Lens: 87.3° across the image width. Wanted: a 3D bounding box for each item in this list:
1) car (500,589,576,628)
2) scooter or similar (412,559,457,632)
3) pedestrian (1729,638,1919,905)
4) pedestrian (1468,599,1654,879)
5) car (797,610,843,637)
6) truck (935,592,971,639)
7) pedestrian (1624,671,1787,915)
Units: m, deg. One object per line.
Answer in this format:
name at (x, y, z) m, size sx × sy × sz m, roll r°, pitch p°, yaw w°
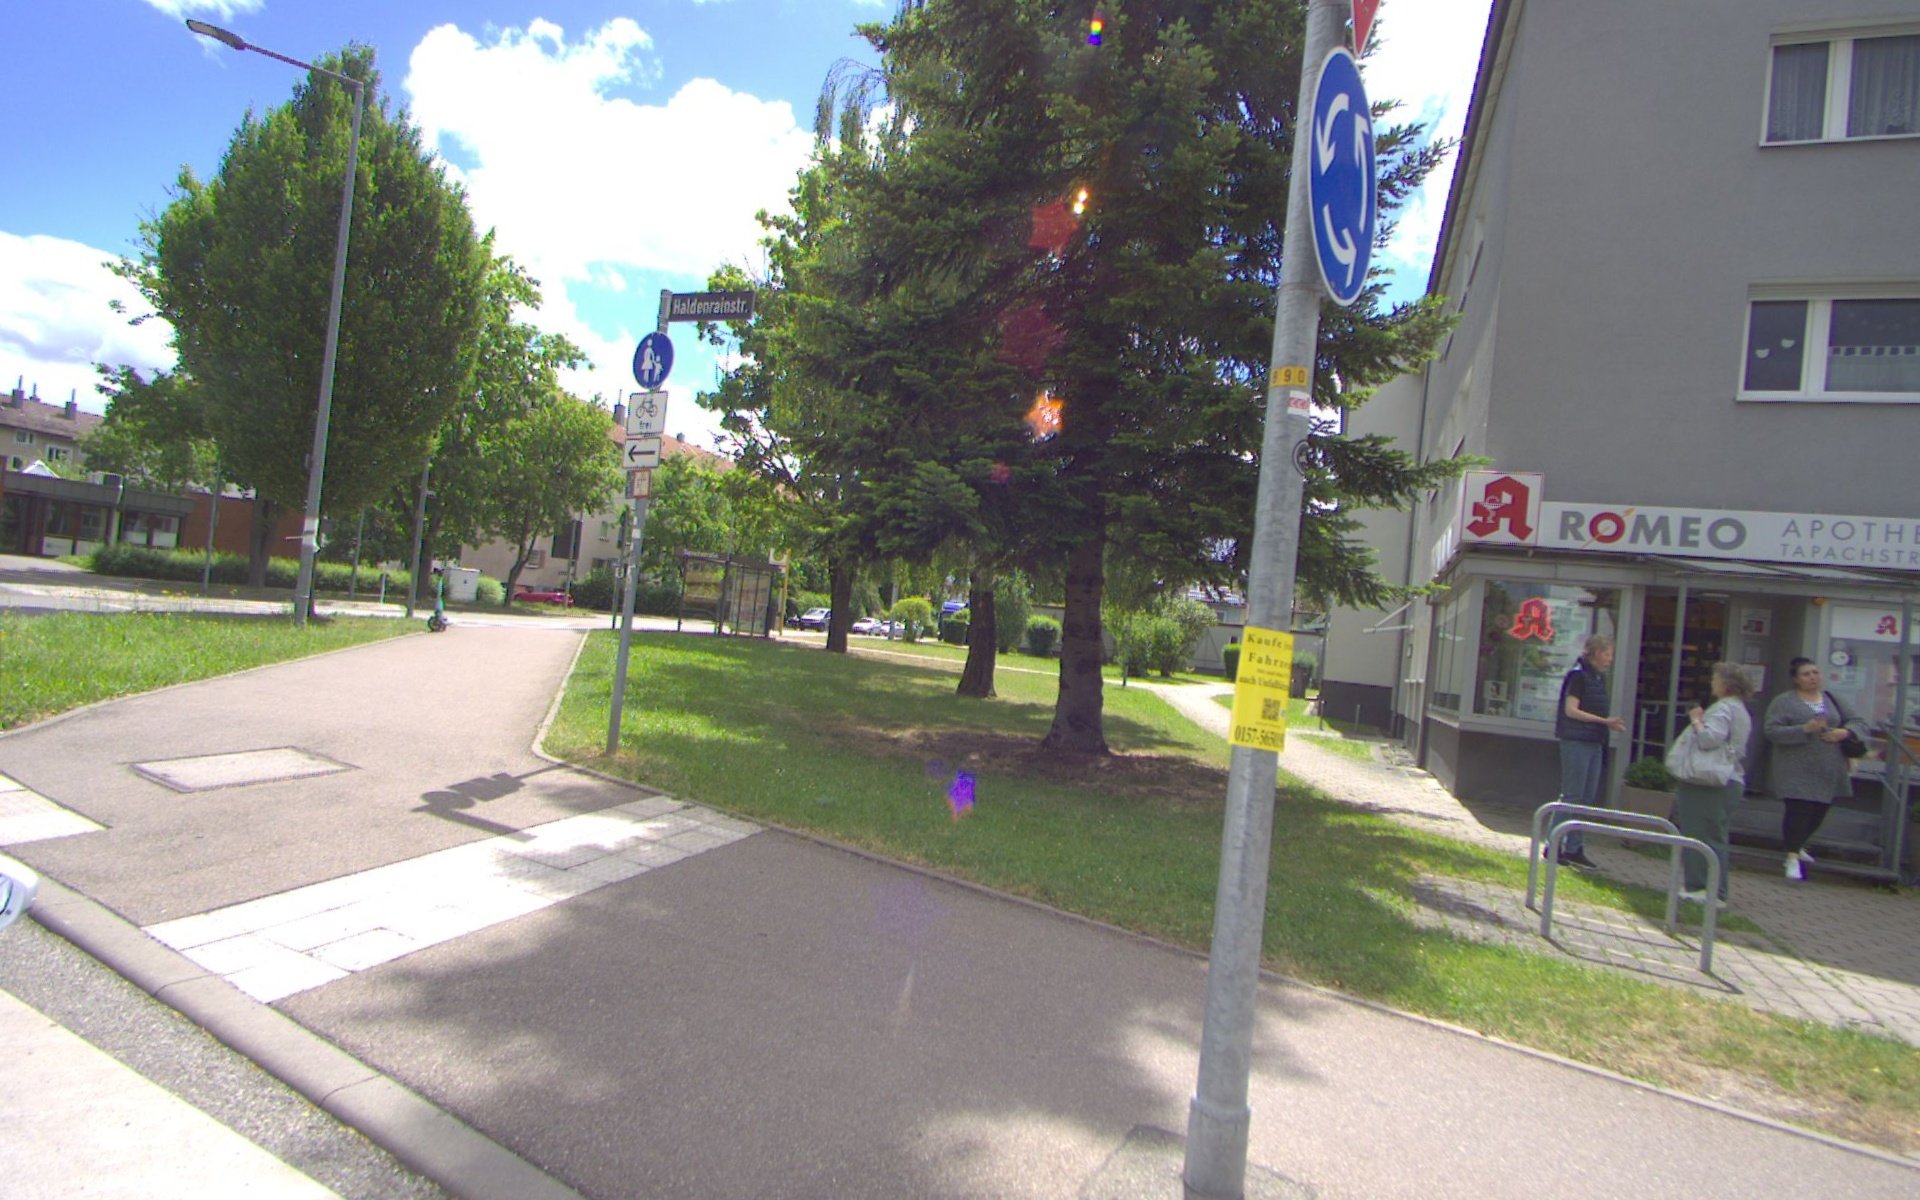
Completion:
car at (-27.087, 0.537, 64.578) m, size 3.925 × 1.963 × 2.021 m, roll 6°, pitch -3°, yaw 19°
scooter or similar at (-10.453, -0.094, 20.037) m, size 0.479 × 1.360 × 1.383 m, roll 5°, pitch 0°, yaw -18°
pedestrian at (7.190, 1.351, 8.307) m, size 0.924 × 1.980 × 0.843 m, roll 6°, pitch 0°, yaw 15°
pedestrian at (4.799, 1.074, 8.111) m, size 1.027 × 2.038 × 0.655 m, roll 6°, pitch 0°, yaw 22°
car at (-10.383, 1.786, 74.892) m, size 1.962 × 1.570 × 4.007 m, roll 6°, pitch -3°, yaw 14°
truck at (-0.582, 1.695, 102.684) m, size 2.737 × 4.200 × 9.809 m, roll 5°, pitch -2°, yaw 3°
pedestrian at (5.260, 1.316, 7.153) m, size 0.679 × 1.548 × 0.743 m, roll 6°, pitch 0°, yaw 26°
